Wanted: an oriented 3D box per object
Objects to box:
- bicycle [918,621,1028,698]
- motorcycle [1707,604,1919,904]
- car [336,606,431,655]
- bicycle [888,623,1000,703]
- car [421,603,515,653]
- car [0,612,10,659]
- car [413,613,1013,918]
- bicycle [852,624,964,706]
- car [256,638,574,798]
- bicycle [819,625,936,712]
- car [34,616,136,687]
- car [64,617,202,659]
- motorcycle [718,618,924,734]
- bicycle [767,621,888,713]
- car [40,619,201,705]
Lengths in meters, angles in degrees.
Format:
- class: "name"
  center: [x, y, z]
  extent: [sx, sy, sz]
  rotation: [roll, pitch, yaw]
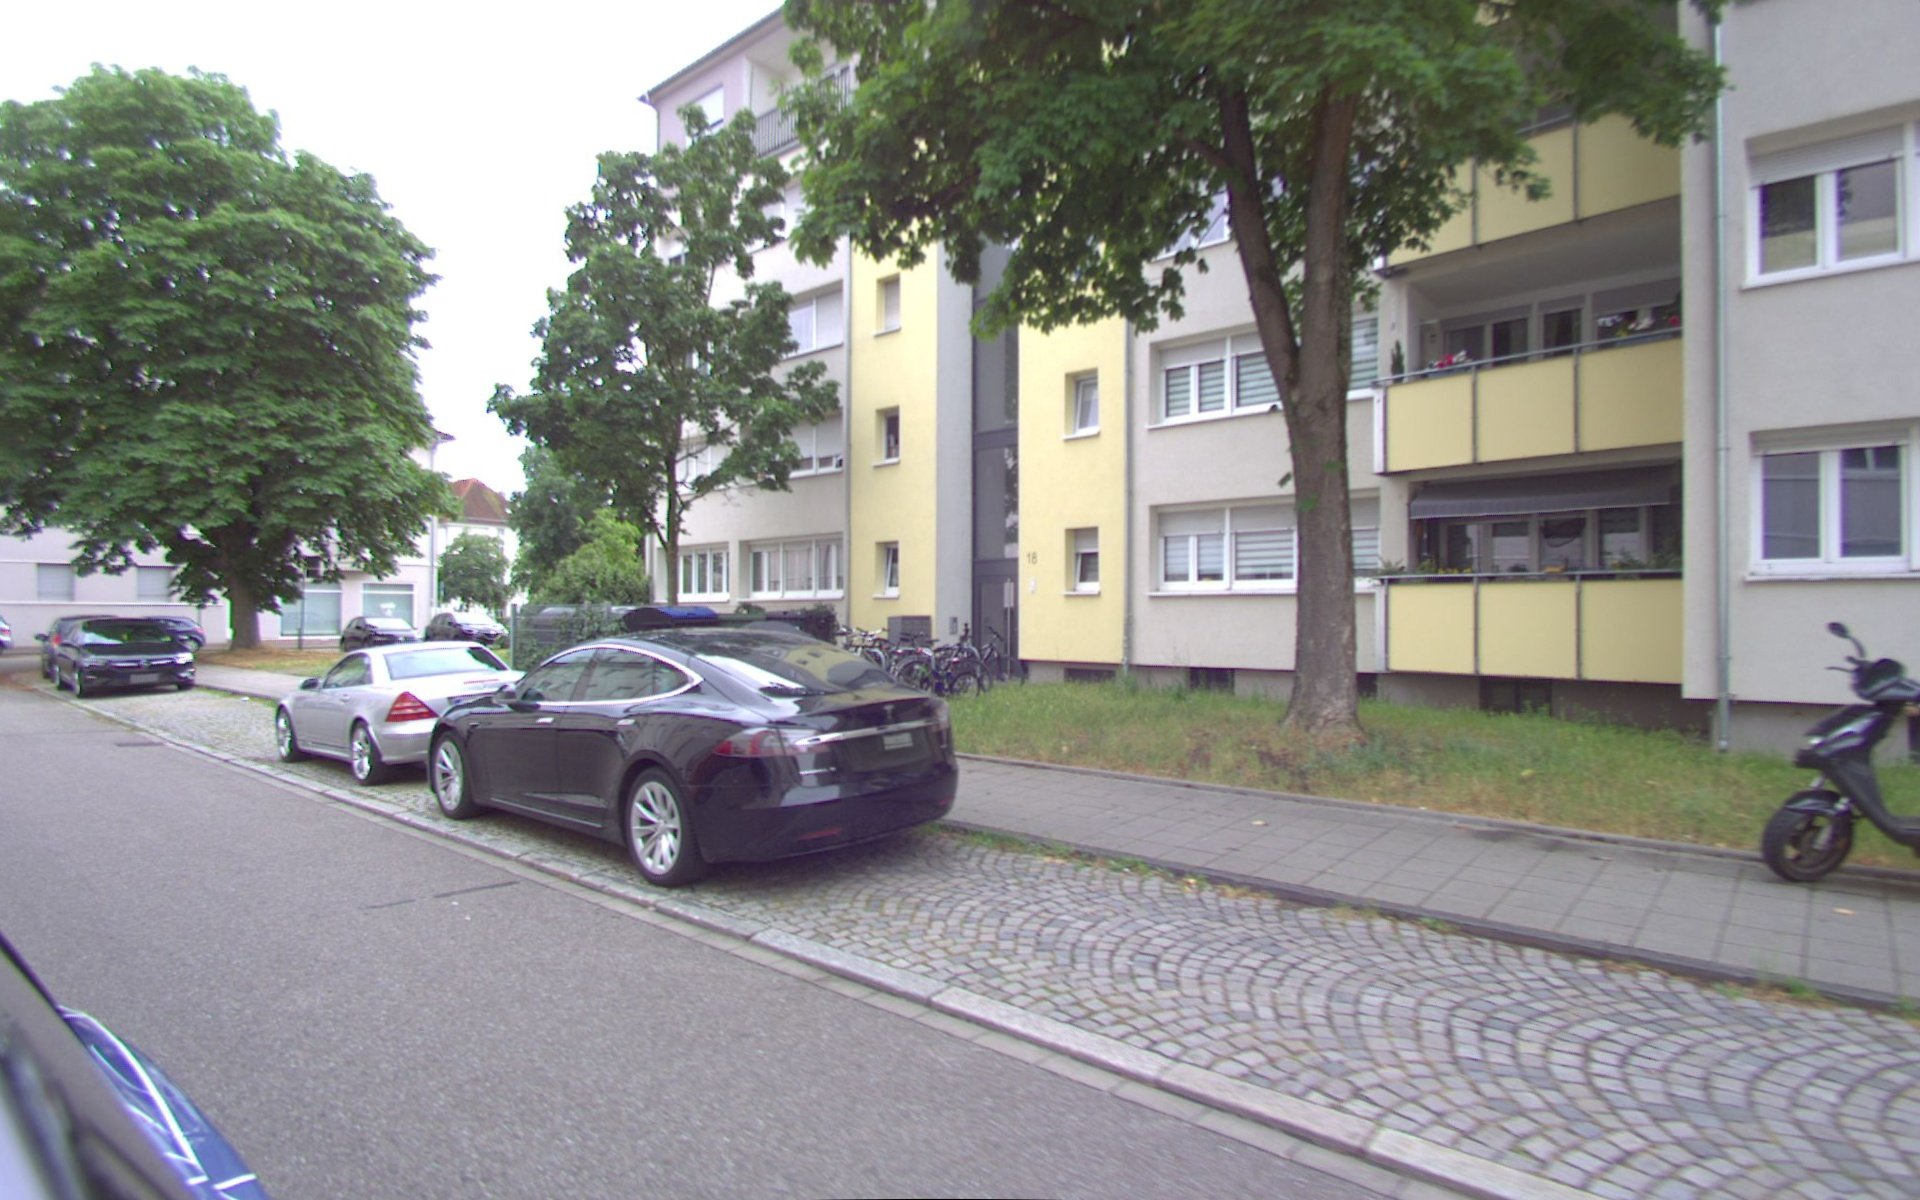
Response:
- class: "bicycle"
  center: [0.179, 0.874, 15.449]
  extent: [1.774, 1.109, 0.545]
  rotation: [-1, -1, 43]
- class: "motorcycle"
  center: [4.905, 0.710, 4.709]
  extent: [2.228, 1.366, 0.670]
  rotation: [-1, 1, 41]
- class: "car"
  center: [-19.773, 1.033, 34.653]
  extent: [3.843, 1.589, 1.804]
  rotation: [-1, -2, 44]
- class: "bicycle"
  center: [-0.261, 0.903, 15.073]
  extent: [1.774, 1.109, 0.545]
  rotation: [-1, -1, 43]
- class: "car"
  center: [-18.044, 1.040, 37.050]
  extent: [1.888, 1.710, 4.071]
  rotation: [0, -2, -45]
- class: "car"
  center: [-35.450, 1.258, 34.683]
  extent: [1.763, 1.640, 4.139]
  rotation: [-1, -1, 44]
- class: "car"
  center: [-2.008, 0.859, 7.183]
  extent: [4.628, 1.432, 1.822]
  rotation: [-1, 0, 42]
- class: "bicycle"
  center: [-0.777, 0.909, 14.698]
  extent: [1.774, 1.109, 0.545]
  rotation: [-1, -1, 43]
- class: "car"
  center: [-5.875, 1.091, 10.705]
  extent: [4.014, 1.268, 1.679]
  rotation: [-1, 0, 42]
- class: "bicycle"
  center: [-1.159, 0.905, 13.923]
  extent: [1.774, 1.109, 0.545]
  rotation: [-1, -1, 43]
- class: "car"
  center: [-20.977, 1.180, 24.222]
  extent: [3.593, 1.505, 1.507]
  rotation: [-1, 1, 44]
- class: "car"
  center: [-31.805, 1.436, 38.992]
  extent: [1.762, 1.501, 3.882]
  rotation: [-1, -1, 41]
- class: "motorcycle"
  center: [-1.751, 0.845, 12.152]
  extent: [3.066, 1.232, 0.673]
  rotation: [-1, -1, 43]
- class: "bicycle"
  center: [-1.747, 0.838, 13.161]
  extent: [1.774, 1.109, 0.545]
  rotation: [-1, -1, 43]
- class: "car"
  center: [-17.218, 1.178, 20.669]
  extent: [4.833, 1.475, 1.848]
  rotation: [-1, 1, 43]
